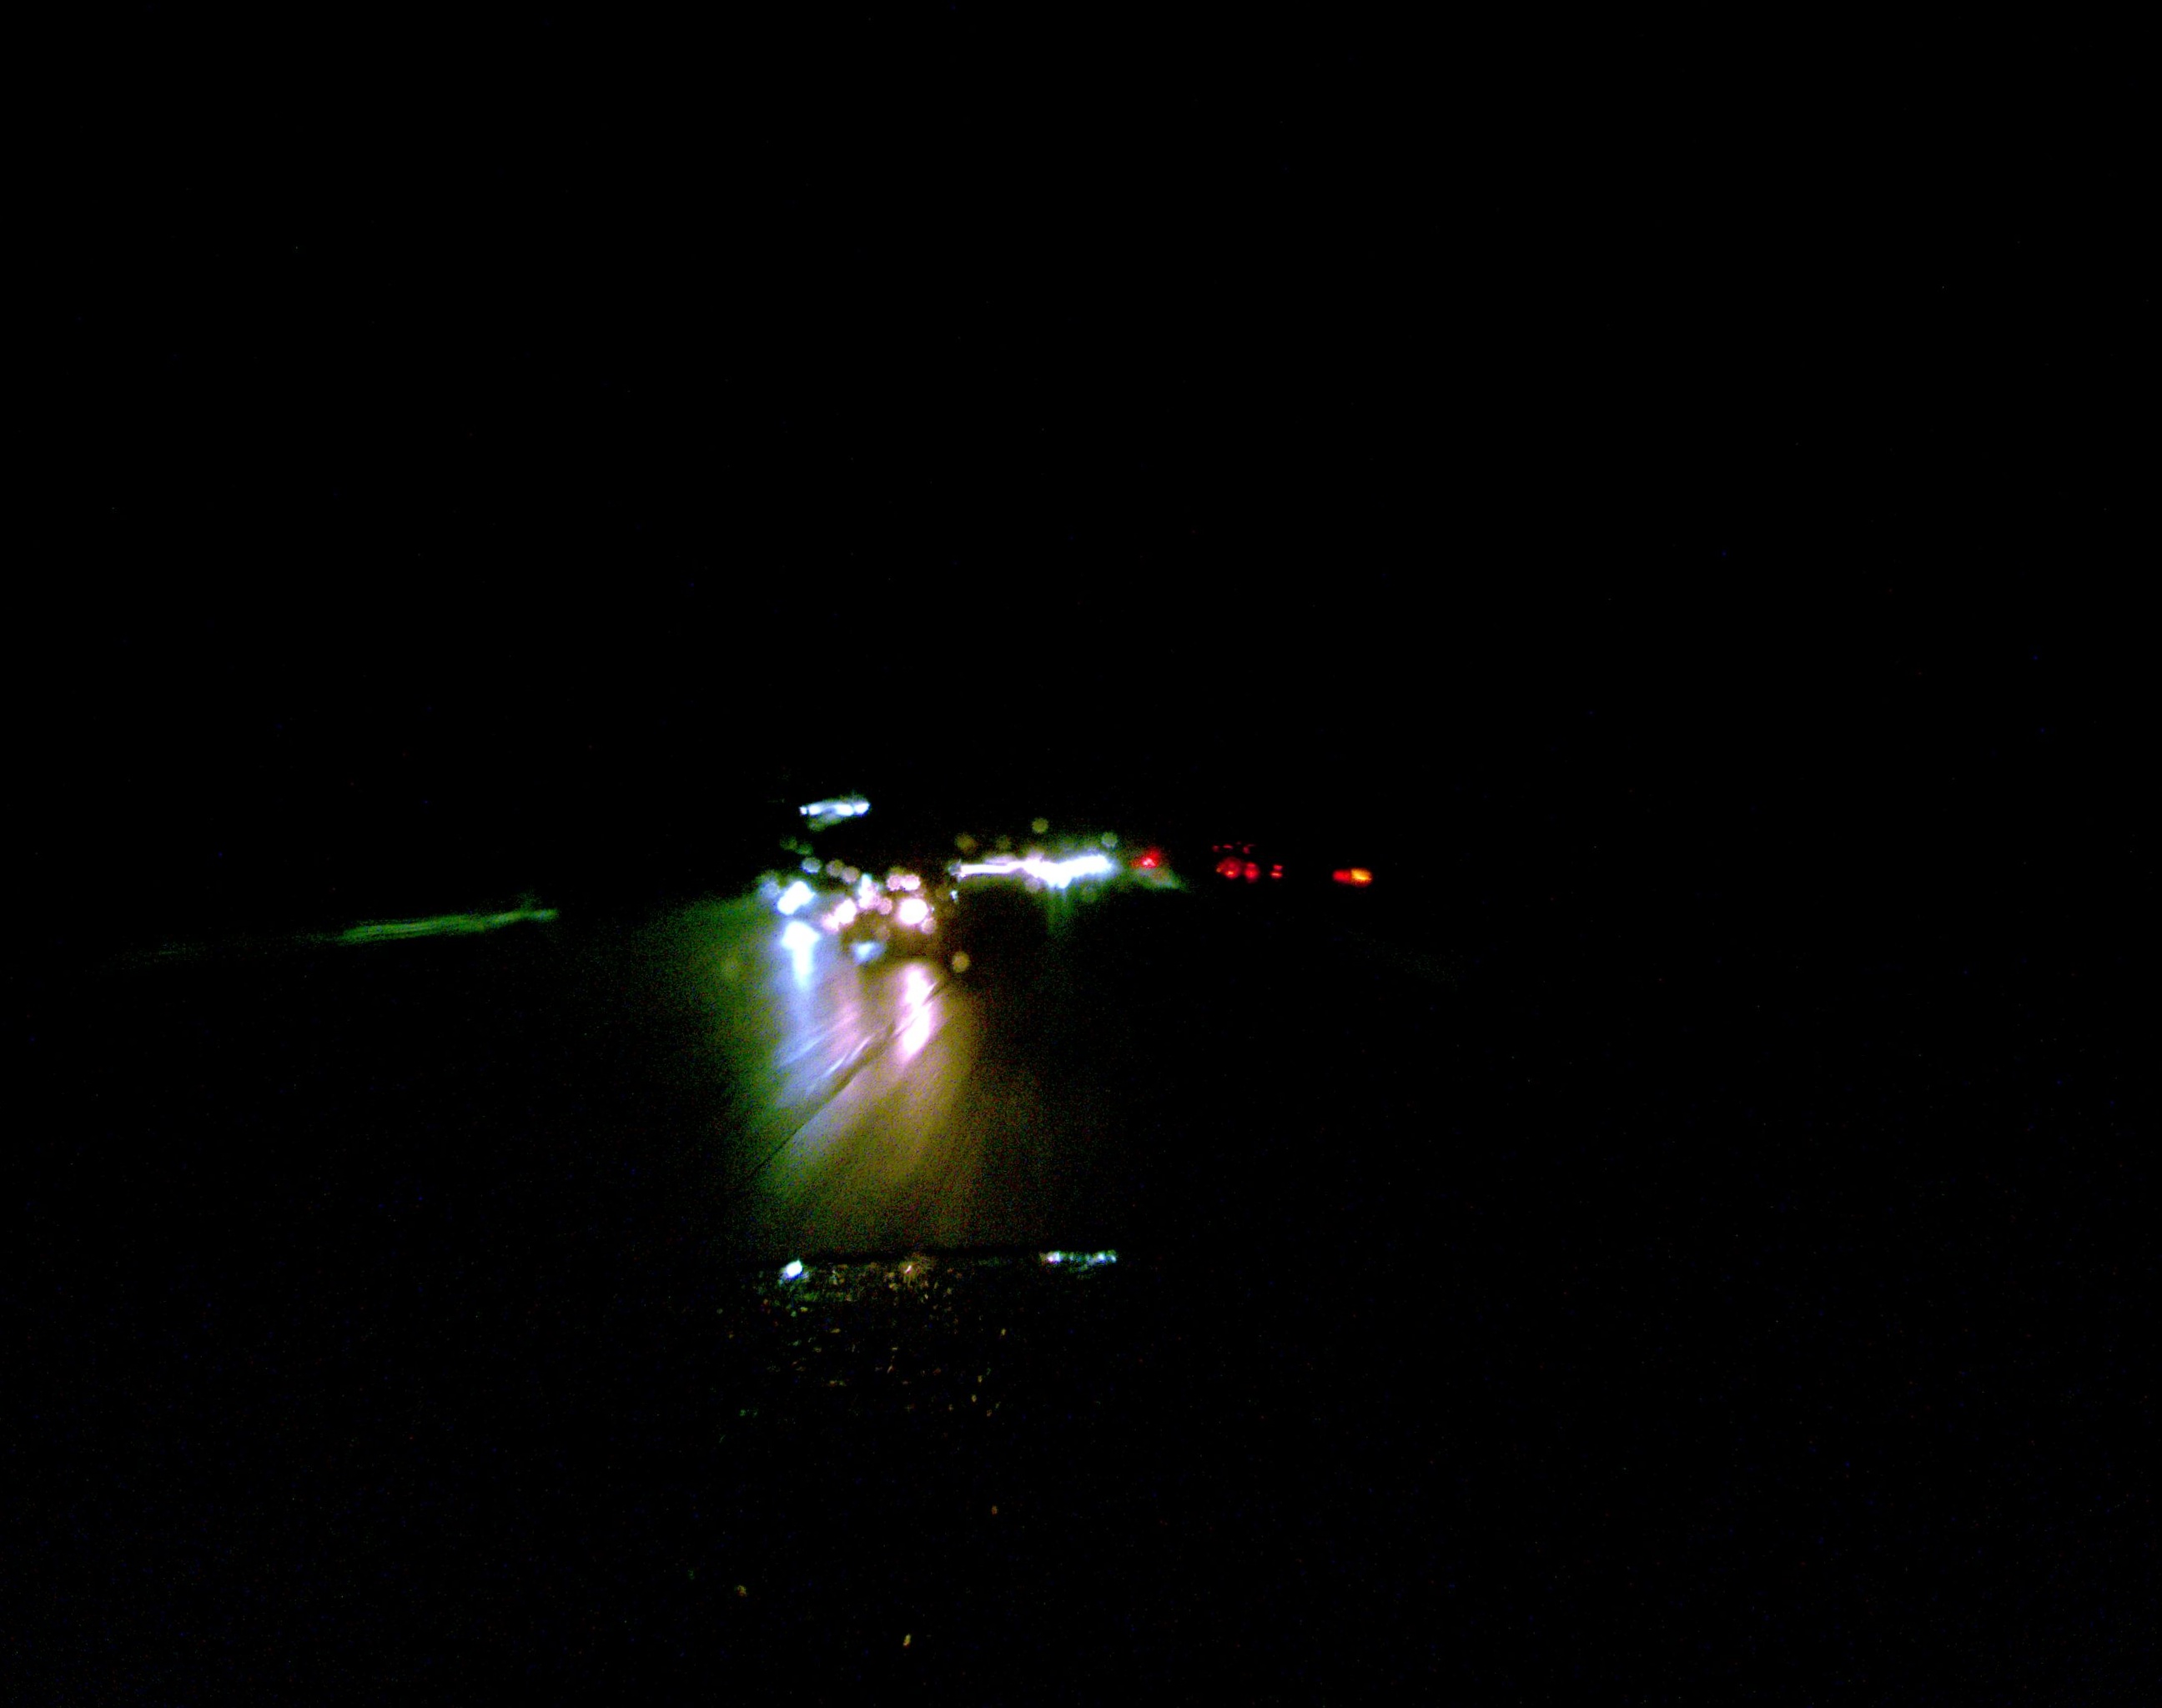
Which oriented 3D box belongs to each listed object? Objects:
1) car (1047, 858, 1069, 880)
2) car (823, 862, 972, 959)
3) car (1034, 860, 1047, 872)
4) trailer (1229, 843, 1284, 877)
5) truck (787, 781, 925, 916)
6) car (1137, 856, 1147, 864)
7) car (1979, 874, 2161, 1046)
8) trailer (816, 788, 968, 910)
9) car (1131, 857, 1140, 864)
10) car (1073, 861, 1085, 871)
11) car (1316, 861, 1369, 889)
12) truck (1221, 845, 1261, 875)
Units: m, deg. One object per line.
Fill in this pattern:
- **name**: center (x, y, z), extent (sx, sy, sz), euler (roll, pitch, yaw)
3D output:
- **car**: center (-2.235, 1.469, 73.927), extent (1.999, 2.001, 4.000), euler (-2, -1, -2)
- **car**: center (-3.425, 0.977, 15.076), extent (1.745, 1.566, 4.494), euler (-1, 0, 1)
- **car**: center (-5.520, 1.624, 104.026), extent (1.644, 1.494, 4.013), euler (-1, -1, -1)
- **trailer**: center (18.205, 0.619, 79.872), extent (3.082, 3.276, 13.158), euler (0, 0, 1)
- **truck**: center (-7.419, -0.150, 25.997), extent (2.910, 4.084, 6.031), euler (0, 0, 0)
- **car**: center (12.779, 1.286, 159.593), extent (1.921, 1.674, 4.506), euler (1, 1, 2)
- **car**: center (12.564, 1.128, 7.420), extent (1.999, 1.750, 4.655), euler (-2, -1, 0)
- **trailer**: center (-7.411, -0.101, 32.696), extent (2.910, 4.084, 14.488), euler (0, 0, 0)
- **car**: center (13.637, 1.701, 190.534), extent (1.921, 1.674, 4.000), euler (1, 1, 2)
- **car**: center (-0.310, 2.044, 130.445), extent (1.883, 1.653, 4.001), euler (-3, -2, 0)
- **car**: center (17.104, 1.332, 49.924), extent (1.921, 1.674, 4.505), euler (0, 1, 0)
- **truck**: center (18.415, 0.662, 87.846), extent (3.082, 3.276, 8.344), euler (0, 0, 1)
